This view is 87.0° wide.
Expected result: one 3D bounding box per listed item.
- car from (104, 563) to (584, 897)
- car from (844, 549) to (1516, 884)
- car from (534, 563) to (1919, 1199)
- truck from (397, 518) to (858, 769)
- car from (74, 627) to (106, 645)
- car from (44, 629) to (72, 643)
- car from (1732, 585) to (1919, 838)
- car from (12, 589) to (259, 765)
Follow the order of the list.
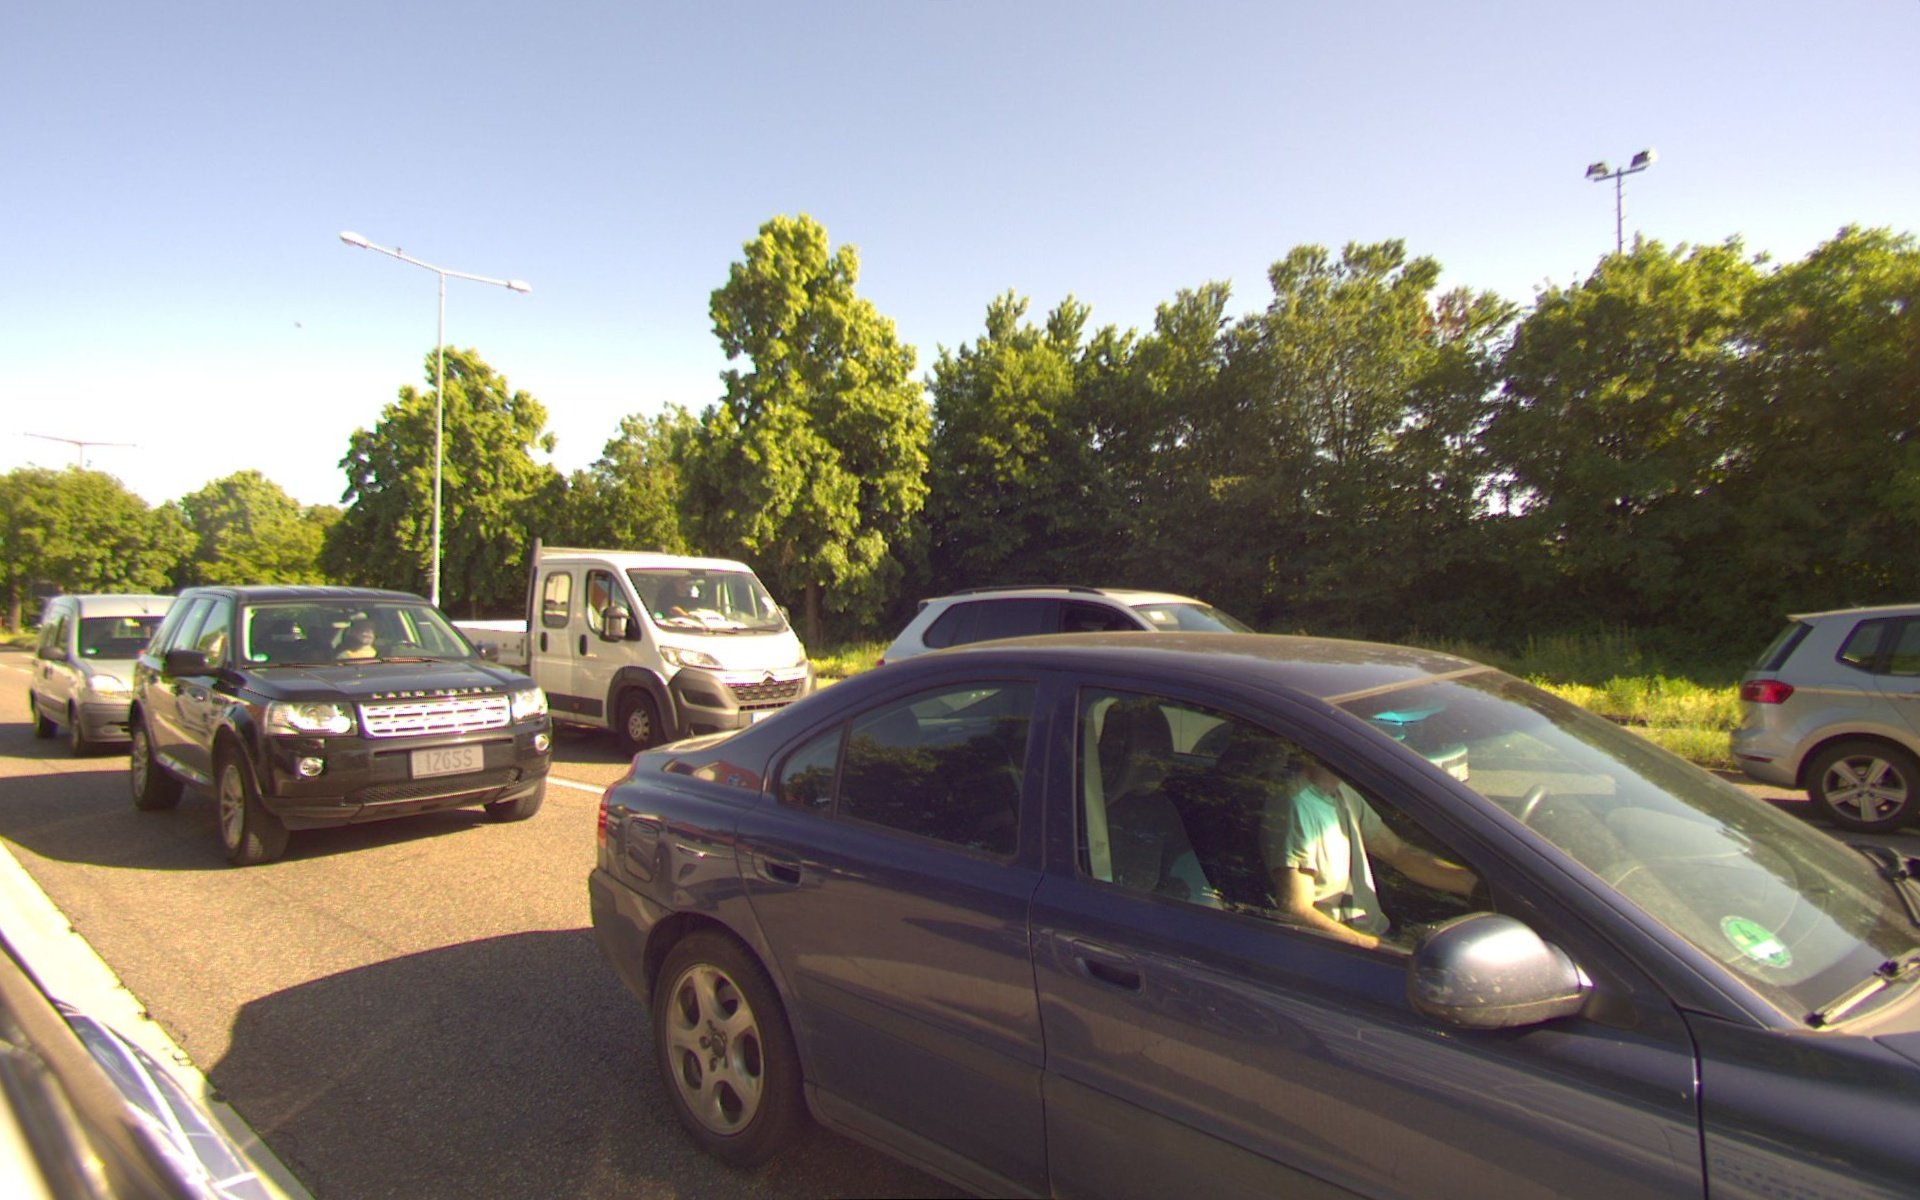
[{"bbox_3d":[-4.698,0.703,7.423,4.384,1.744,1.793,-1,-1,41],"label":"car"},{"bbox_3d":[1.377,0.675,7.433,4.422,1.723,1.973,-2,-3,41],"label":"car"},{"bbox_3d":[0.889,0.692,2.428,4.454,1.463,1.757,-1,0,41],"label":"car"},{"bbox_3d":[-4.404,0.439,12.449,6.838,2.337,2.158,-1,-1,40],"label":"truck"},{"bbox_3d":[-83.598,3.413,97.237,3.998,1.697,1.769,-2,-3,41],"label":"car"},{"bbox_3d":[-97.374,3.893,109.268,3.998,1.428,1.769,-2,-3,41],"label":"car"},{"bbox_3d":[7.628,0.720,6.417,4.206,1.623,1.810,-2,-3,42],"label":"car"},{"bbox_3d":[-10.055,0.798,12.224,4.384,1.765,1.611,-1,-1,41],"label":"car"}]
